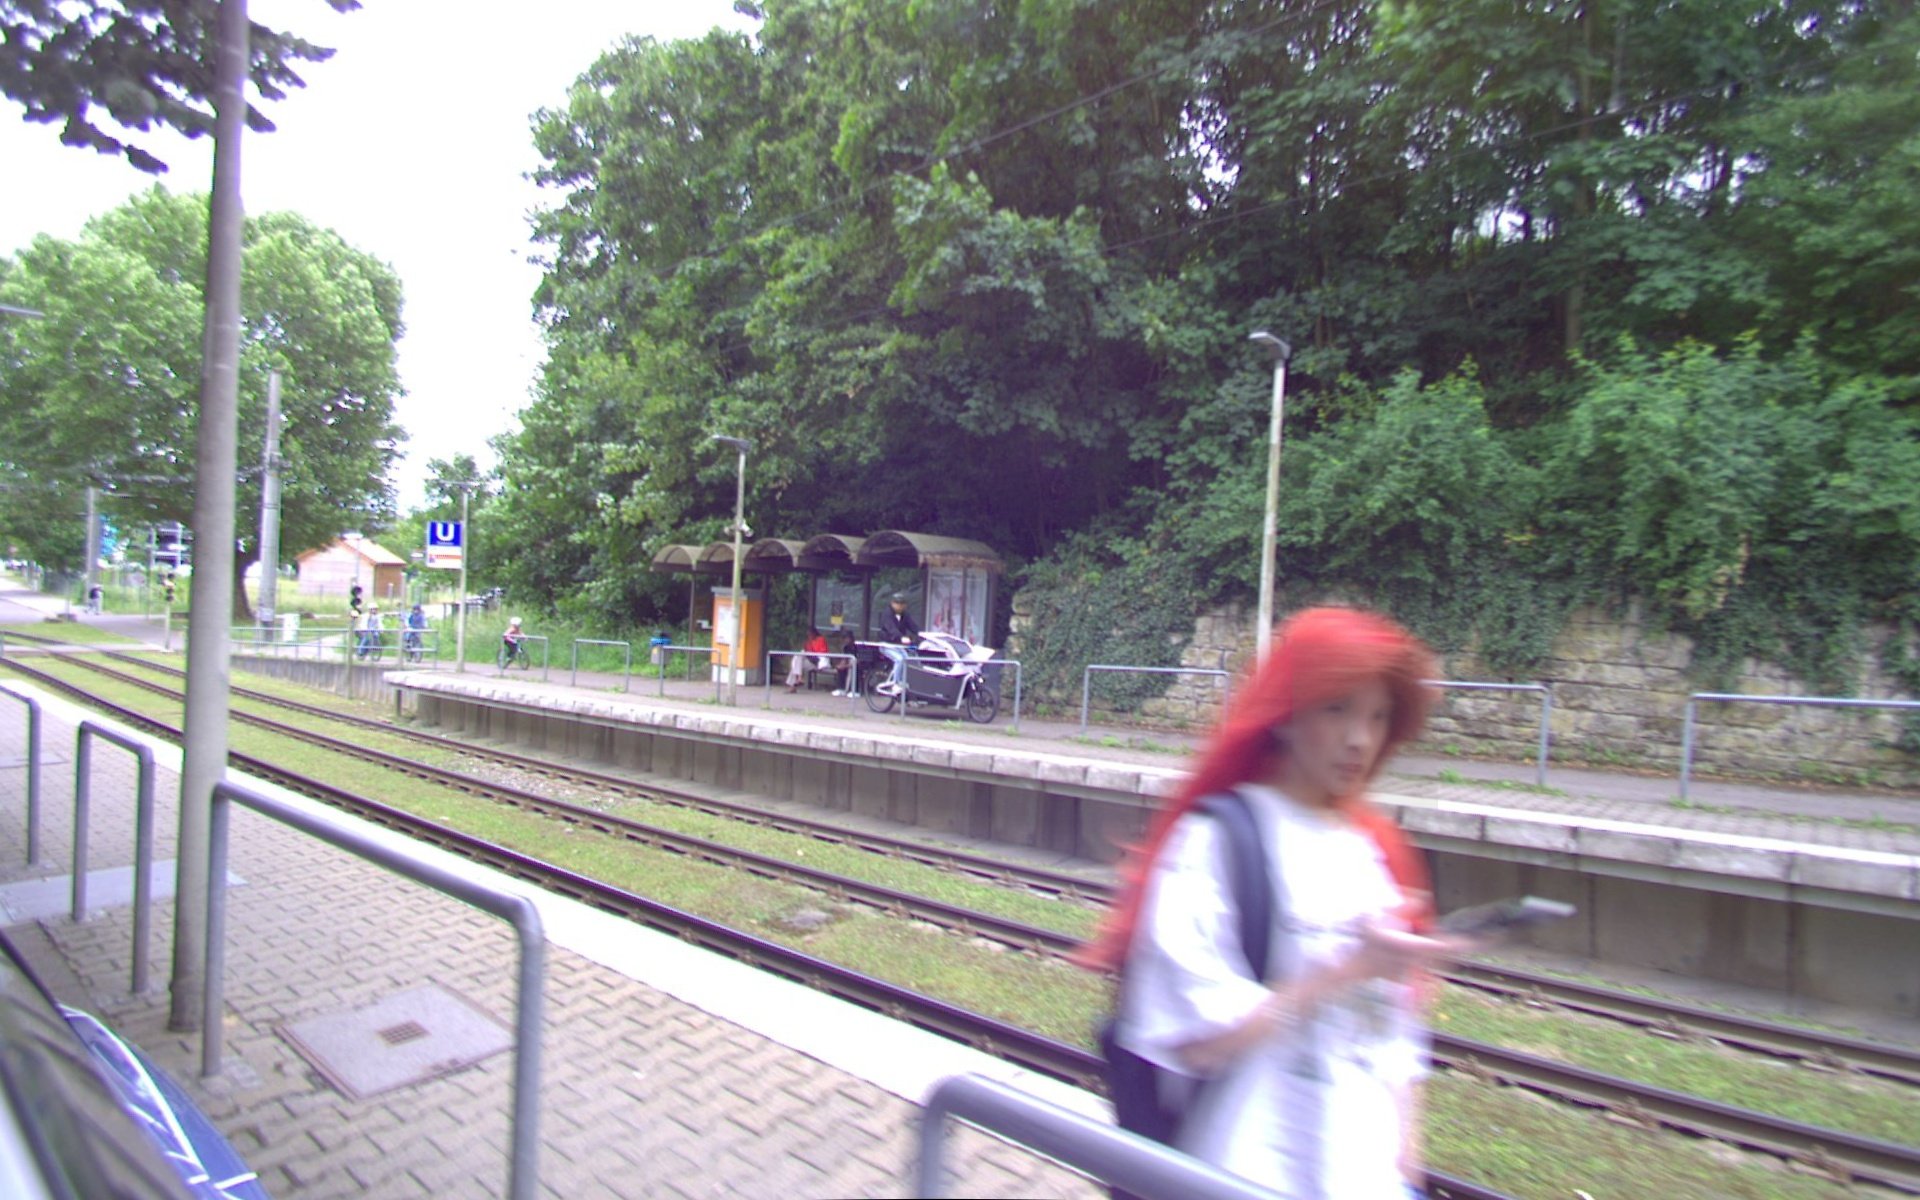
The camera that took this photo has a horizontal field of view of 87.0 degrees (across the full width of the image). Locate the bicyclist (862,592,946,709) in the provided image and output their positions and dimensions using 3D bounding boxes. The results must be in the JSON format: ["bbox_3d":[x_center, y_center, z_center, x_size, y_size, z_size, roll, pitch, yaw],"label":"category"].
[{"bbox_3d":[-0.816,0.713,14.766,1.033,1.641,0.696,-2,-1,44],"label":"bicyclist"}]

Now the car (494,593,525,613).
[{"bbox_3d":[-38.162,0.240,85.742,1.966,1.696,4.012,1,0,-18],"label":"car"}]

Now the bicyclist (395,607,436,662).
[{"bbox_3d":[-14.758,0.930,27.449,0.839,1.454,0.722,-2,-2,40],"label":"bicyclist"}]

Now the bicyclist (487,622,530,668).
[{"bbox_3d":[-10.685,1.057,23.960,0.744,1.061,0.682,-1,-2,41],"label":"bicyclist"}]

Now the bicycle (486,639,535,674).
[{"bbox_3d":[-10.620,1.329,23.898,1.564,0.787,0.445,-1,-2,42],"label":"bicycle"}]

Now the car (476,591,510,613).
[{"bbox_3d":[-37.157,0.177,80.657,1.966,1.696,4.012,1,0,-18],"label":"car"}]

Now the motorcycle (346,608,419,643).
[{"bbox_3d":[-27.137,1.182,47.628,1.247,1.564,3.046,1,0,13],"label":"motorcycle"}]

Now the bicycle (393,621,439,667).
[{"bbox_3d":[-14.807,1.189,27.521,1.939,1.197,0.458,-2,-2,41],"label":"bicycle"}]

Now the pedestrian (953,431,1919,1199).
[{"bbox_3d":[0.476,0.663,1.075,0.738,1.514,0.619,-1,-1,38],"label":"pedestrian"}]

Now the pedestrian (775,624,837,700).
[{"bbox_3d":[-2.844,1.119,18.653,0.772,1.333,0.813,1,0,35],"label":"pedestrian"}]

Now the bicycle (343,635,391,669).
[{"bbox_3d":[-16.628,1.456,28.354,1.841,0.932,0.473,-2,-2,37],"label":"bicycle"}]

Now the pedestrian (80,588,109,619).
[{"bbox_3d":[-49.721,0.200,58.119,1.099,1.747,0.696,1,0,-27],"label":"pedestrian"}]

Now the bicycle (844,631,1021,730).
[{"bbox_3d":[-0.459,1.086,14.408,2.868,1.249,0.742,-1,-1,45],"label":"bicycle"}]

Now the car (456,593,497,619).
[{"bbox_3d":[-32.983,0.379,69.142,1.966,1.696,4.012,1,0,-18],"label":"car"}]

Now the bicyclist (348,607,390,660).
[{"bbox_3d":[-16.509,0.927,28.268,0.906,1.442,0.738,-2,-2,36],"label":"bicyclist"}]

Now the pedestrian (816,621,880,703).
[{"bbox_3d":[-1.982,1.070,17.952,0.772,1.385,0.813,1,0,35],"label":"pedestrian"}]
